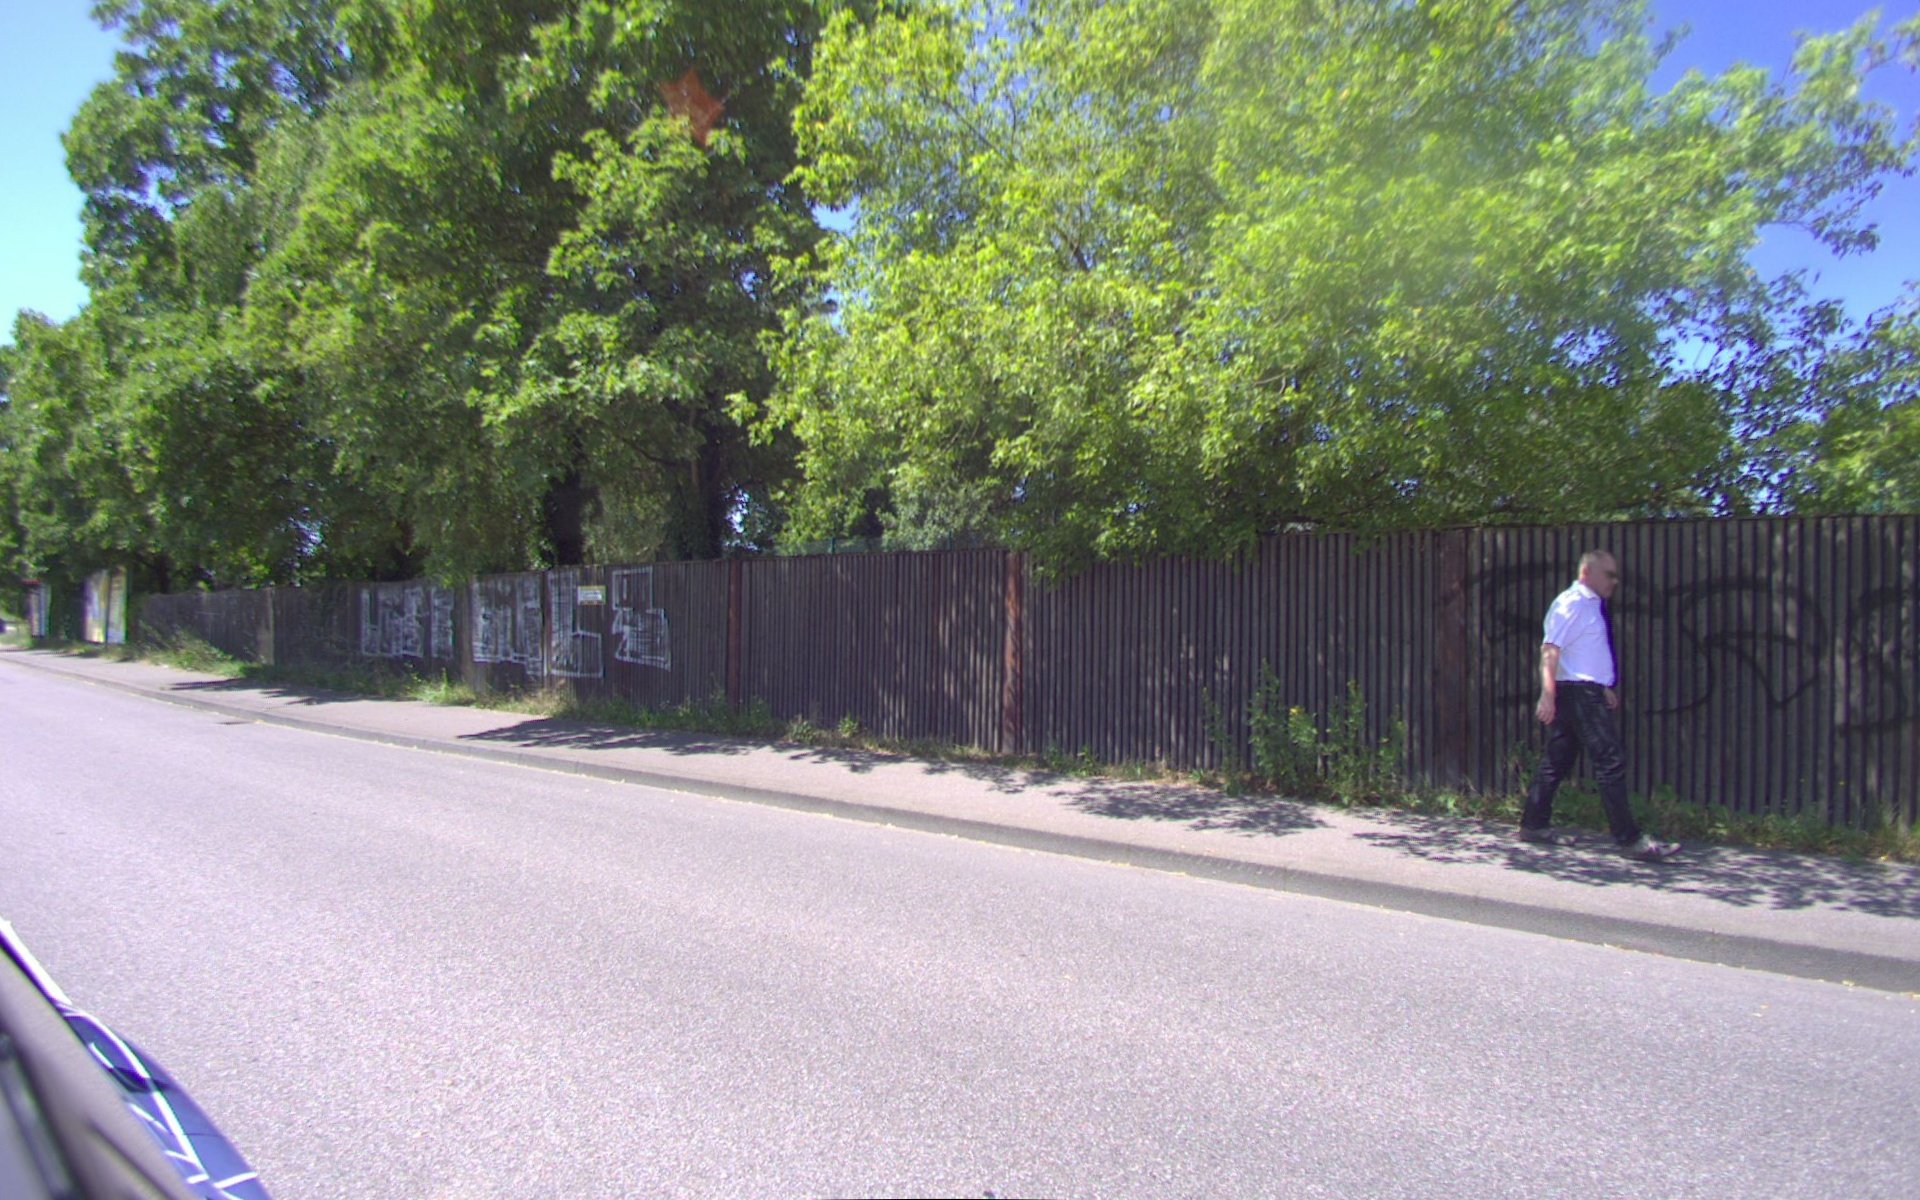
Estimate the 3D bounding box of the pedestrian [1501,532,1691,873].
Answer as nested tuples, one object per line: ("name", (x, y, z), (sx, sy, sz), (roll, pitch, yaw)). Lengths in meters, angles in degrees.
("pedestrian", (3.743, 0.554, 5.963), (0.850, 1.838, 0.586), (-1, 0, 41))
